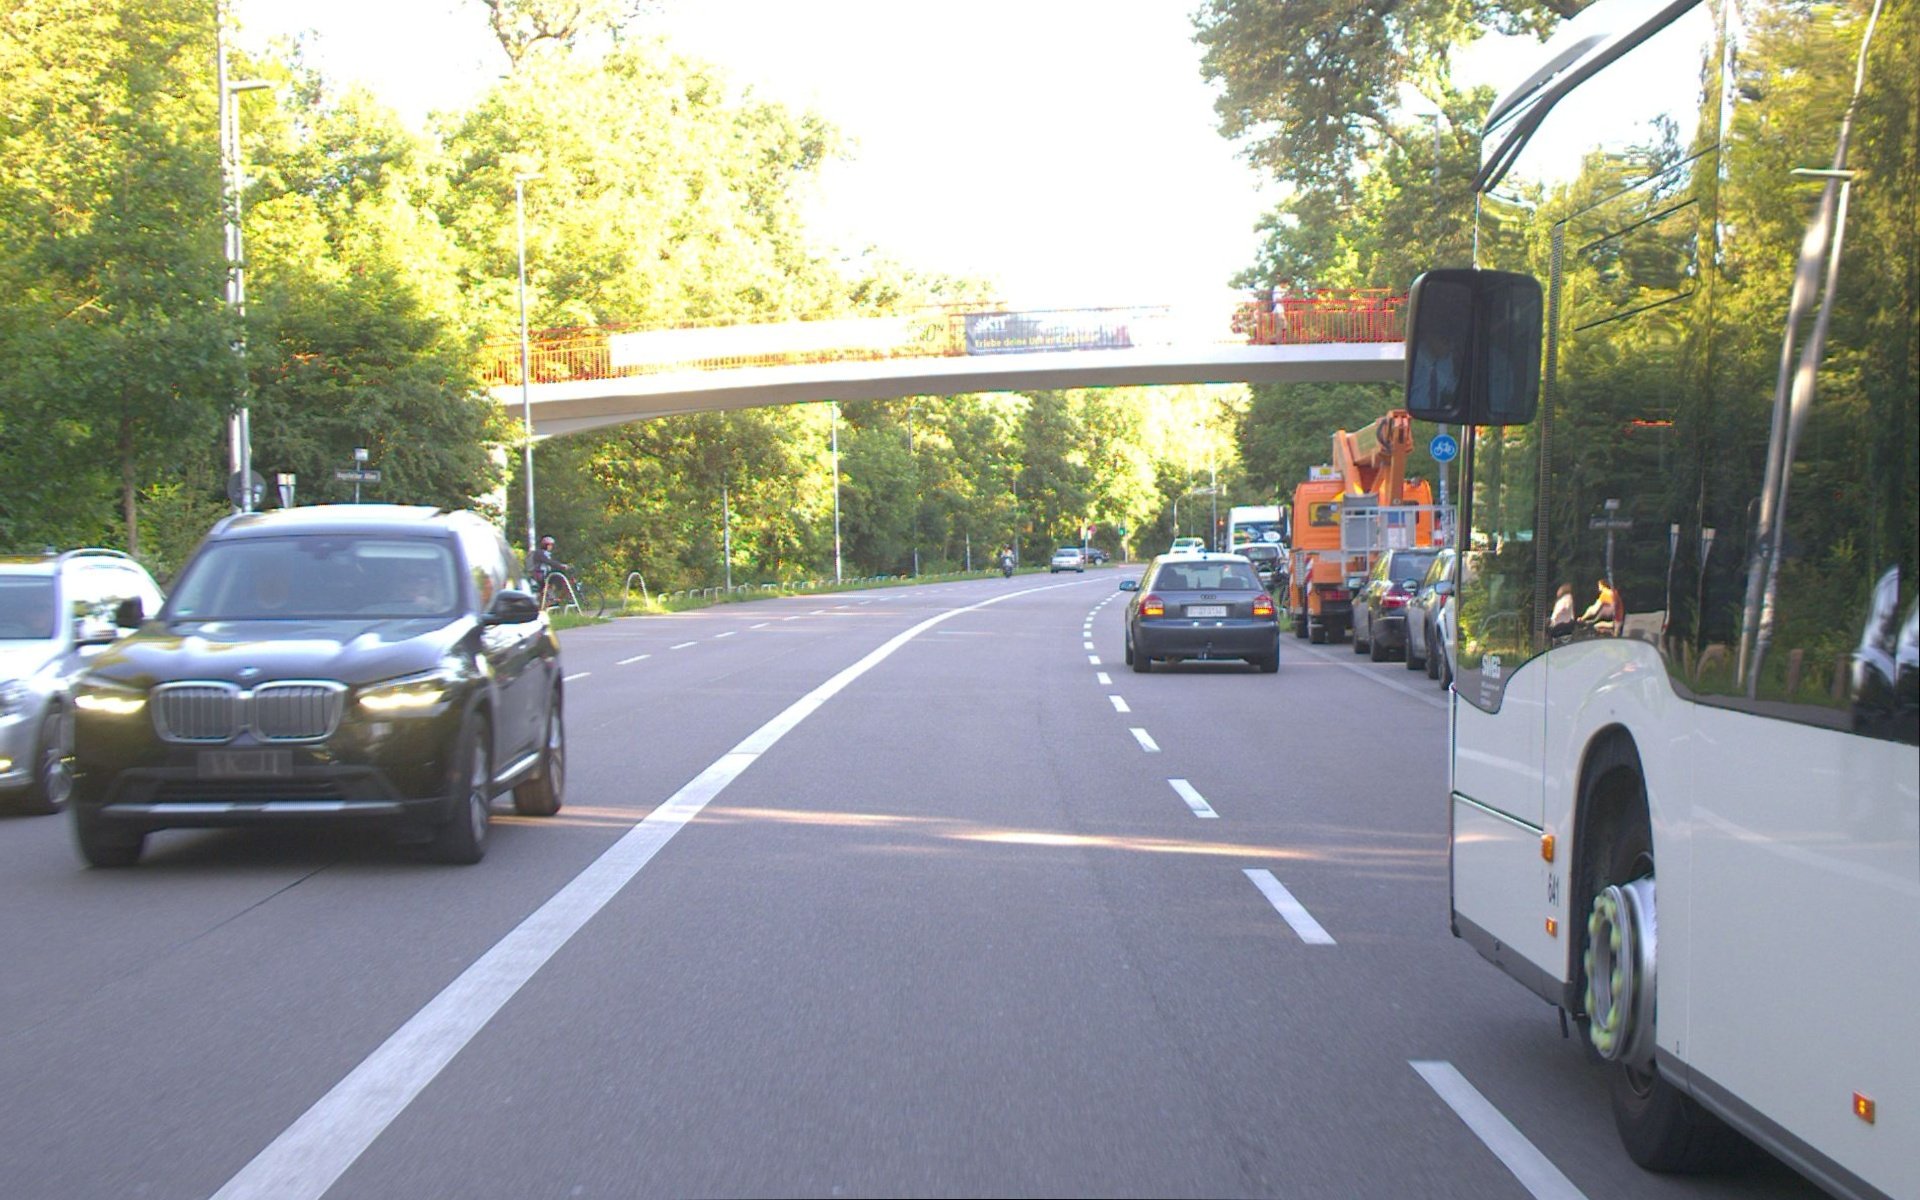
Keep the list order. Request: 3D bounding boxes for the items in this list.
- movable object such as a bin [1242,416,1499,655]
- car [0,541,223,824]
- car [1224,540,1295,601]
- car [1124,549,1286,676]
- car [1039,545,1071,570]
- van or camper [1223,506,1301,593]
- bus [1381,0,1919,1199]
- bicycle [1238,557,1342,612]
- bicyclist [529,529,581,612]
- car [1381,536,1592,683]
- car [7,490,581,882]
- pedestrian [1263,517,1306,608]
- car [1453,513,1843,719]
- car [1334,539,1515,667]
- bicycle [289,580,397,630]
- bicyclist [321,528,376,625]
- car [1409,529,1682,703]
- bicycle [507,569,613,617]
[{"bbox_3d":[6.146,-0.986,52.683,2.758,3.359,7.601,-1,1,-2],"label":"movable object such as a bin"},{"bbox_3d":[-5.956,0.417,20.853,1.898,1.526,4.529,0,1,1],"label":"car"},{"bbox_3d":[7.989,-0.800,91.419,1.723,1.491,3.774,-3,1,6],"label":"car"},{"bbox_3d":[2.880,0.117,41.143,1.728,1.436,4.090,0,1,1],"label":"car"},{"bbox_3d":[5.604,-2.502,202.326,1.681,1.402,3.889,-2,1,4],"label":"car"},{"bbox_3d":[8.974,-1.512,102.538,2.119,2.509,5.979,-1,1,3],"label":"van or camper"},{"bbox_3d":[2.850,-0.159,5.313,2.704,3.211,12.280,0,1,-1],"label":"bus"},{"bbox_3d":[6.929,-0.326,72.208,2.061,1.064,0.870,-2,0,-1],"label":"bicycle"},{"bbox_3d":[-8.057,-0.583,68.380,0.796,1.638,0.841,0,1,12],"label":"bicyclist"},{"bbox_3d":[5.919,0.064,39.041,1.727,1.568,4.090,0,1,-1],"label":"car"},{"bbox_3d":[-3.170,0.345,17.321,1.918,1.698,4.442,-1,1,1],"label":"car"},{"bbox_3d":[6.808,-0.786,72.209,0.699,1.846,0.939,-3,0,-1],"label":"pedestrian"},{"bbox_3d":[5.541,0.109,28.201,1.727,1.536,4.091,1,0,-10],"label":"car"},{"bbox_3d":[5.955,0.012,44.447,1.727,1.569,4.090,0,1,-1],"label":"car"},{"bbox_3d":[-12.245,0.092,68.267,1.928,0.931,0.824,-1,1,12],"label":"bicycle"},{"bbox_3d":[-12.141,-0.467,68.236,0.796,1.894,0.817,-1,1,12],"label":"bicyclist"},{"bbox_3d":[5.616,0.115,33.494,1.838,1.569,4.460,0,1,-1],"label":"car"},{"bbox_3d":[-7.948,-0.138,68.362,1.928,0.931,0.824,0,1,12],"label":"bicycle"}]
